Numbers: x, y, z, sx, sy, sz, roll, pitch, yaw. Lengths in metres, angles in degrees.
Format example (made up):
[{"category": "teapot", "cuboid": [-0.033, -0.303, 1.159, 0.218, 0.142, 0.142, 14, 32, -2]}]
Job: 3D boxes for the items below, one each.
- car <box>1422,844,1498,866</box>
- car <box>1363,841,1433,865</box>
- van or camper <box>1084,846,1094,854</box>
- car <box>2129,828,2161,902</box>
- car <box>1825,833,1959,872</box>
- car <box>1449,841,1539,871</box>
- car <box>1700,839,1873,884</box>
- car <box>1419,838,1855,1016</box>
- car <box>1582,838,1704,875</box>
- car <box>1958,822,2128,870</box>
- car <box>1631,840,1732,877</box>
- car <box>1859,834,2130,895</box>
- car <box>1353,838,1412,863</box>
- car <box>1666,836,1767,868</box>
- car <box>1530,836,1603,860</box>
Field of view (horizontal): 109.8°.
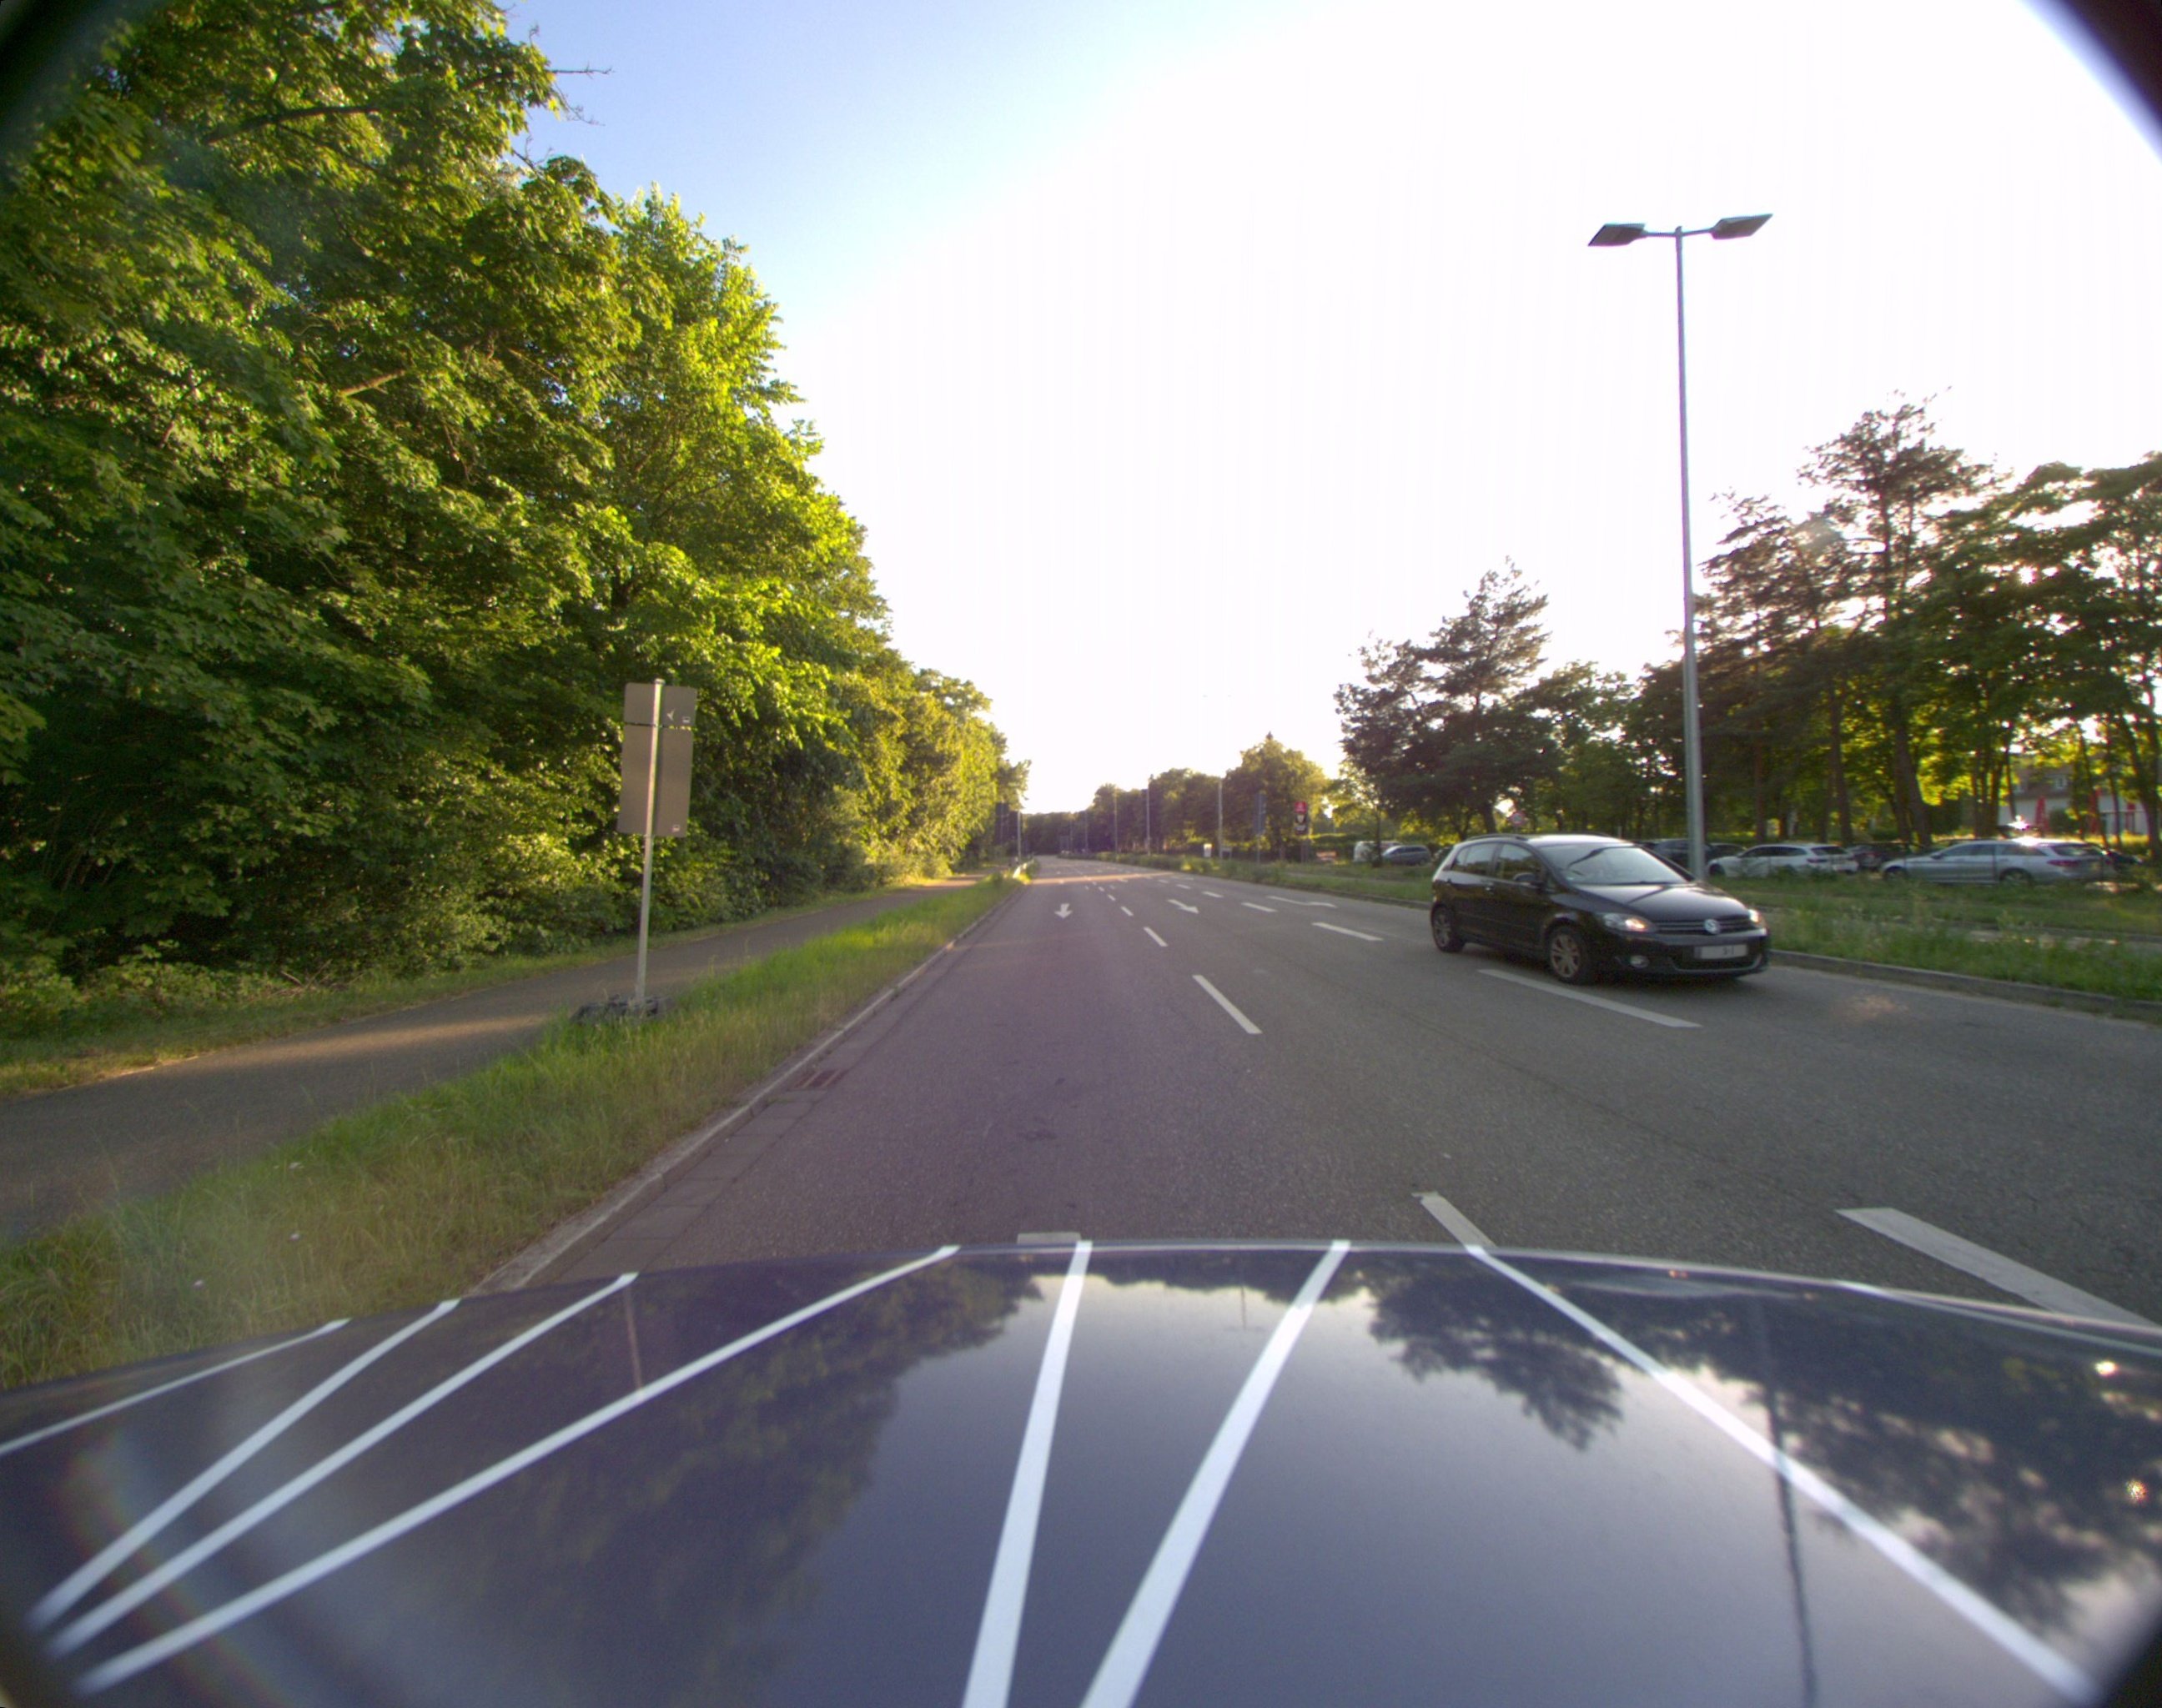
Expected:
[{"category": "car", "cuboid": [24.222, 0.073, 48.650, 3.997, 1.304, 1.732, -1, 1, -1]}, {"category": "car", "cuboid": [24.179, -0.097, 58.033, 4.498, 1.787, 1.909, -1, 1, -2]}, {"category": "van or camper", "cuboid": [2.042, -1.104, 196.926, 2.000, 2.002, 4.574, -1, 1, -8]}, {"category": "car", "cuboid": [27.109, 0.259, 16.422, 1.999, 1.776, 4.920, -1, 1, -4]}, {"category": "car", "cuboid": [35.421, -0.072, 33.250, 3.997, 1.641, 1.766, -1, 1, -1]}, {"category": "car", "cuboid": [25.169, 0.131, 46.408, 4.497, 1.743, 1.909, -1, 1, -1]}, {"category": "car", "cuboid": [26.422, 0.258, 28.739, 1.999, 1.539, 4.708, -1, 1, -4]}, {"category": "car", "cuboid": [5.810, 0.631, 8.711, 1.999, 1.543, 3.999, -1, 0, -2]}, {"category": "car", "cuboid": [26.446, 0.111, 35.835, 4.525, 1.608, 1.771, -1, 1, -3]}, {"category": "car", "cuboid": [34.982, -0.285, 27.694, 3.997, 1.641, 1.766, -1, 1, -1]}, {"category": "car", "cuboid": [25.786, 0.194, 32.697, 3.099, 1.518, 1.659, -1, 1, -2]}, {"category": "car", "cuboid": [26.777, 0.248, 22.630, 1.999, 1.597, 4.920, -1, 1, -4]}, {"category": "car", "cuboid": [24.215, -0.250, 61.072, 3.998, 1.933, 1.766, -1, 1, -2]}, {"category": "car", "cuboid": [34.080, -0.119, 40.805, 3.997, 1.641, 1.766, -1, 1, -1]}, {"category": "car", "cuboid": [34.121, -0.400, 53.486, 3.997, 1.641, 1.766, -1, 1, -1]}]
